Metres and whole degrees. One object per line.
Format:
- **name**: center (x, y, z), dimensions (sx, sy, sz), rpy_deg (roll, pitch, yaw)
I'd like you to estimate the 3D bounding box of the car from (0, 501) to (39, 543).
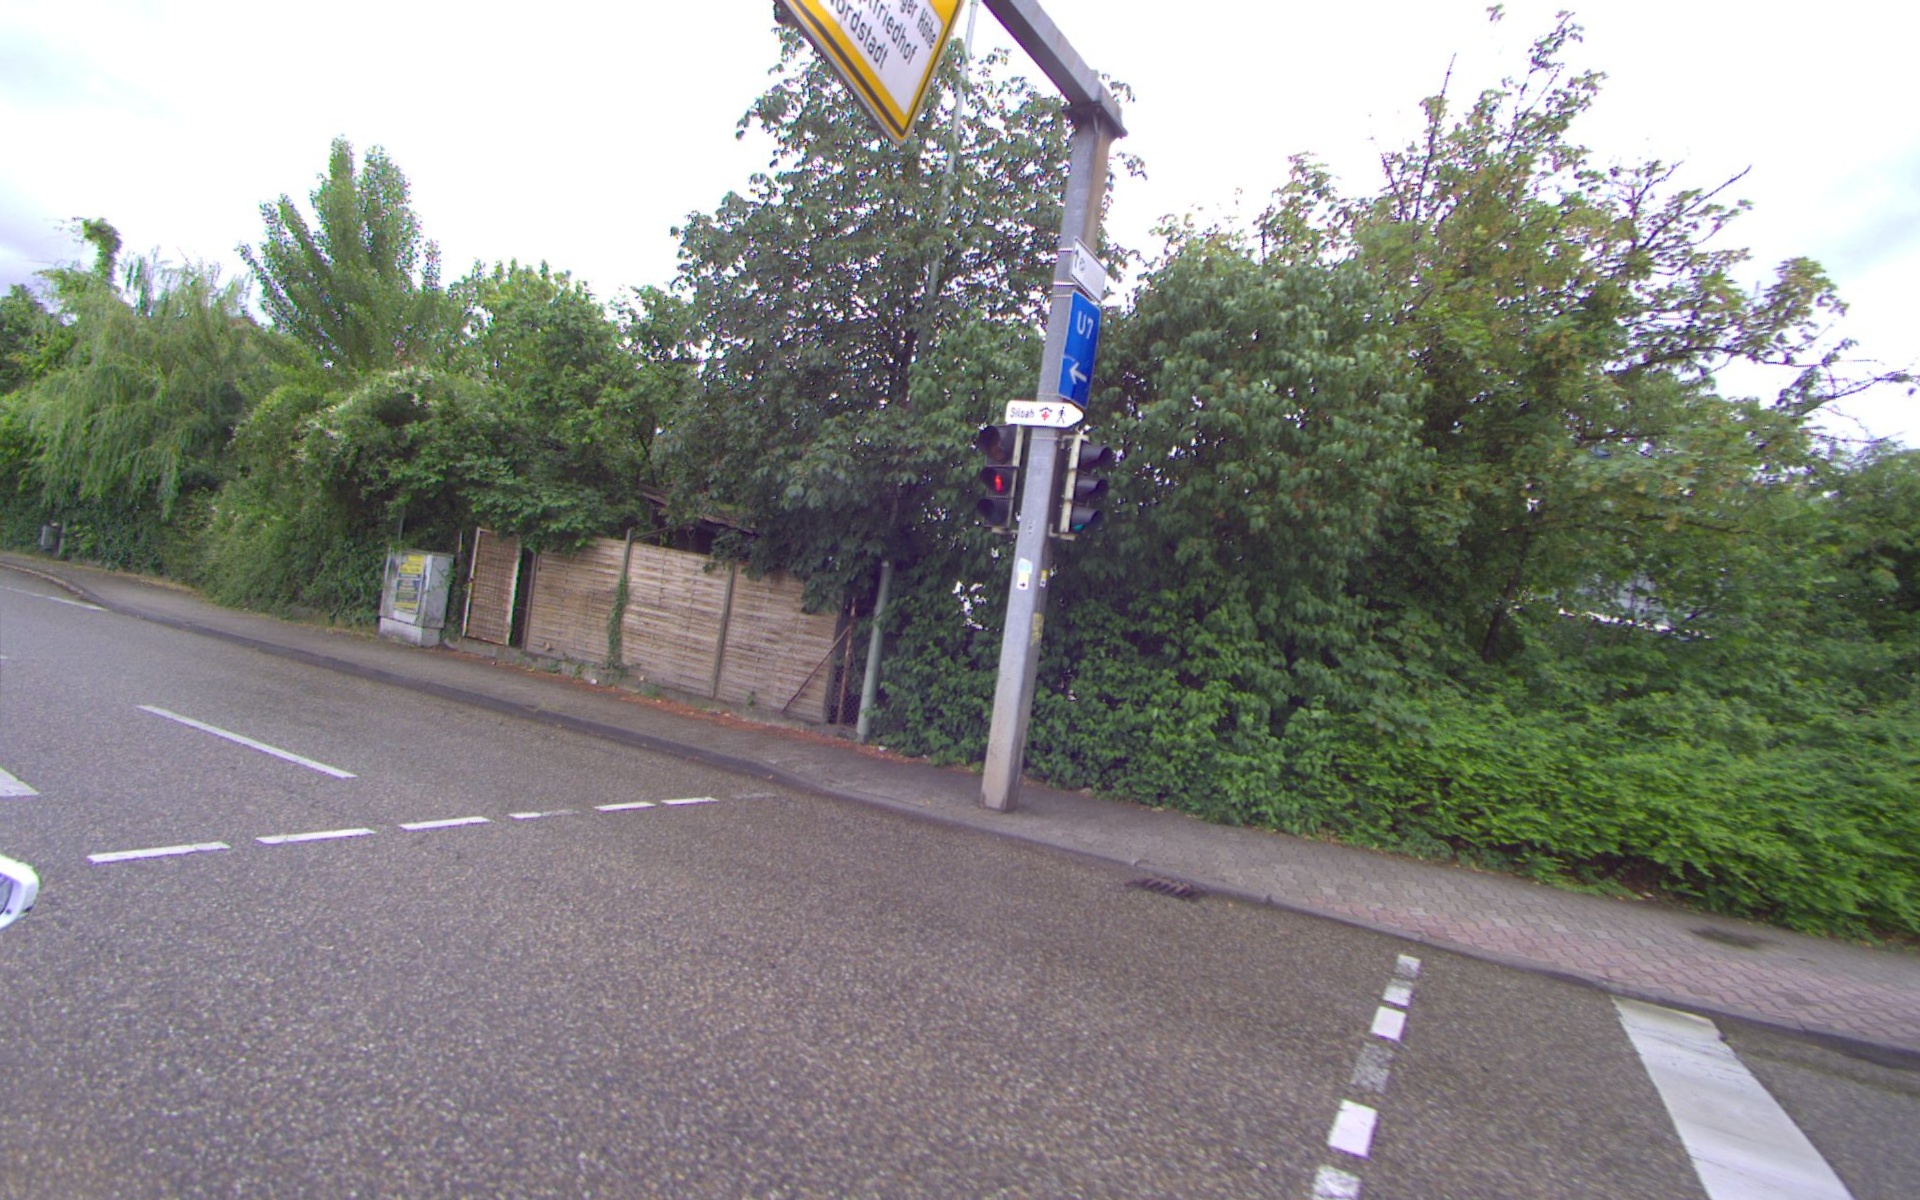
- **car**: center (-36.351, -3.049, 36.643), dimensions (1.698, 1.412, 3.724), rpy_deg (6, -1, 24)
